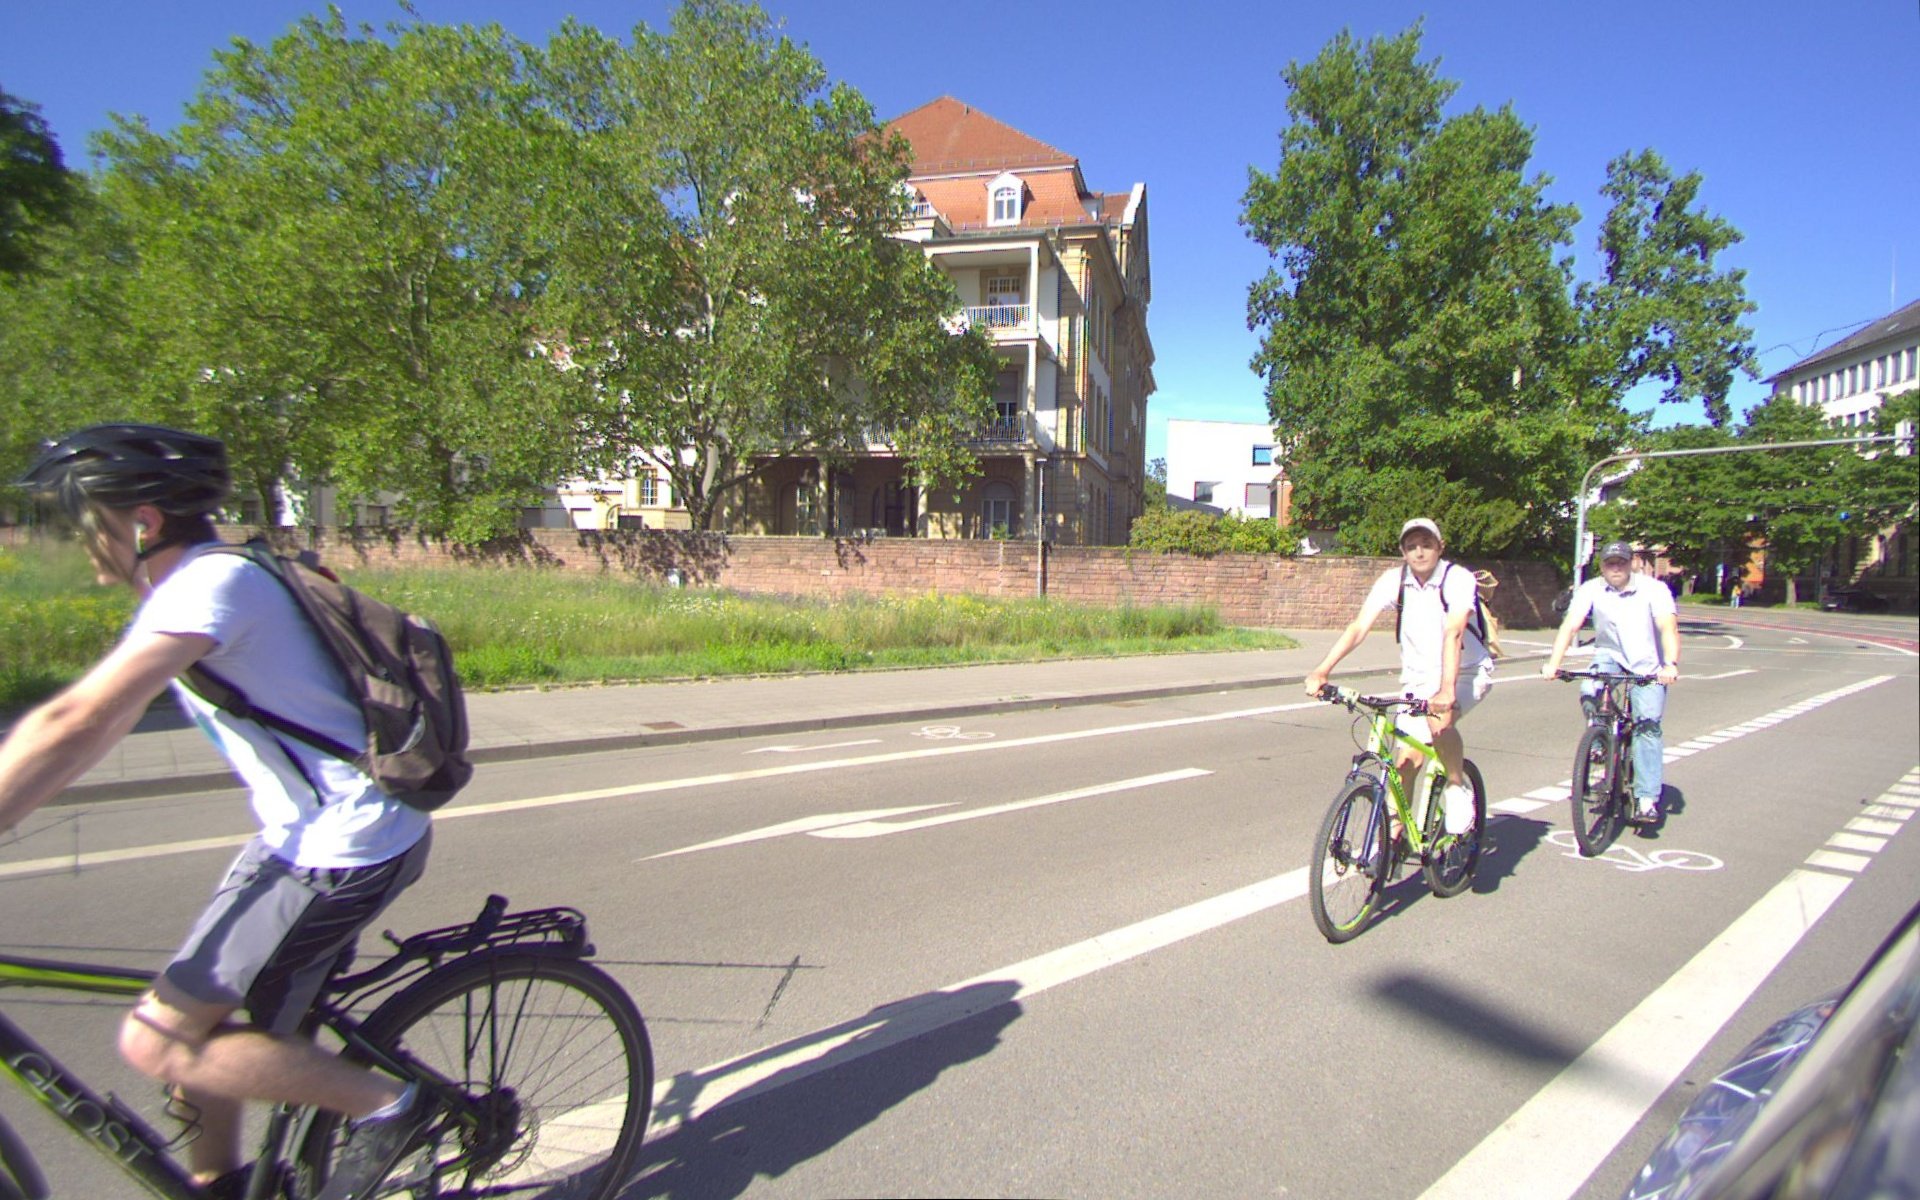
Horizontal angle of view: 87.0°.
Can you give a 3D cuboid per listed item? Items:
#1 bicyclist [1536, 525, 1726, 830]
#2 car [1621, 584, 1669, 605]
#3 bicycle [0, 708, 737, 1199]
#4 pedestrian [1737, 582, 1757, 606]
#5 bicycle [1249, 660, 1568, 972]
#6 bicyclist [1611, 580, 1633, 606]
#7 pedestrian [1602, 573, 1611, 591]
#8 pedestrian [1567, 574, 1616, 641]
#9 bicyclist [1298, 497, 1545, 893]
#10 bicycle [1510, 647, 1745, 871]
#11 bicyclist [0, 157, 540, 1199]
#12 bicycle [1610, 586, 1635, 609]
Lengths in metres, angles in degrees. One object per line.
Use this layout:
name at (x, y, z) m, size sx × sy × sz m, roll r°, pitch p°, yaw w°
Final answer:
bicyclist at (4.100, 0.417, 6.188) m, size 0.851 × 1.694 × 0.741 m, roll 0°, pitch 2°, yaw -42°
car at (55.441, -0.480, 81.963) m, size 1.822 × 1.504 × 4.149 m, roll 2°, pitch 2°, yaw 14°
bicycle at (-1.339, 0.867, 1.754) m, size 1.795 × 1.152 × 0.616 m, roll 0°, pitch 1°, yaw -42°
pedestrian at (60.808, -0.486, 78.204) m, size 0.745 × 1.835 × 0.978 m, roll 1°, pitch 1°, yaw 9°
bicycle at (2.135, 0.868, 4.689) m, size 1.812 × 1.064 × 0.672 m, roll 0°, pitch 0°, yaw -42°
bicyclist at (41.476, -0.462, 63.439) m, size 0.859 × 1.579 × 1.272 m, roll 2°, pitch 2°, yaw 21°
pedestrian at (69.696, -1.941, 109.028) m, size 0.751 × 1.836 × 0.969 m, roll 1°, pitch -3°, yaw 30°
pedestrian at (18.316, 0.206, 29.360) m, size 0.719 × 1.872 × 0.960 m, roll 0°, pitch 3°, yaw -42°
bicyclist at (2.159, 0.381, 4.712) m, size 1.062 × 1.603 × 0.675 m, roll 0°, pitch 0°, yaw -41°
bicycle at (4.177, 0.886, 6.276) m, size 1.870 × 1.063 × 0.749 m, roll 0°, pitch 2°, yaw -42°
bicyclist at (-1.315, 0.315, 1.741) m, size 0.923 × 1.808 × 0.677 m, roll -1°, pitch 0°, yaw -42°
bicycle at (41.445, -0.170, 63.354) m, size 0.753 × 1.385 × 2.719 m, roll 2°, pitch 2°, yaw 22°
